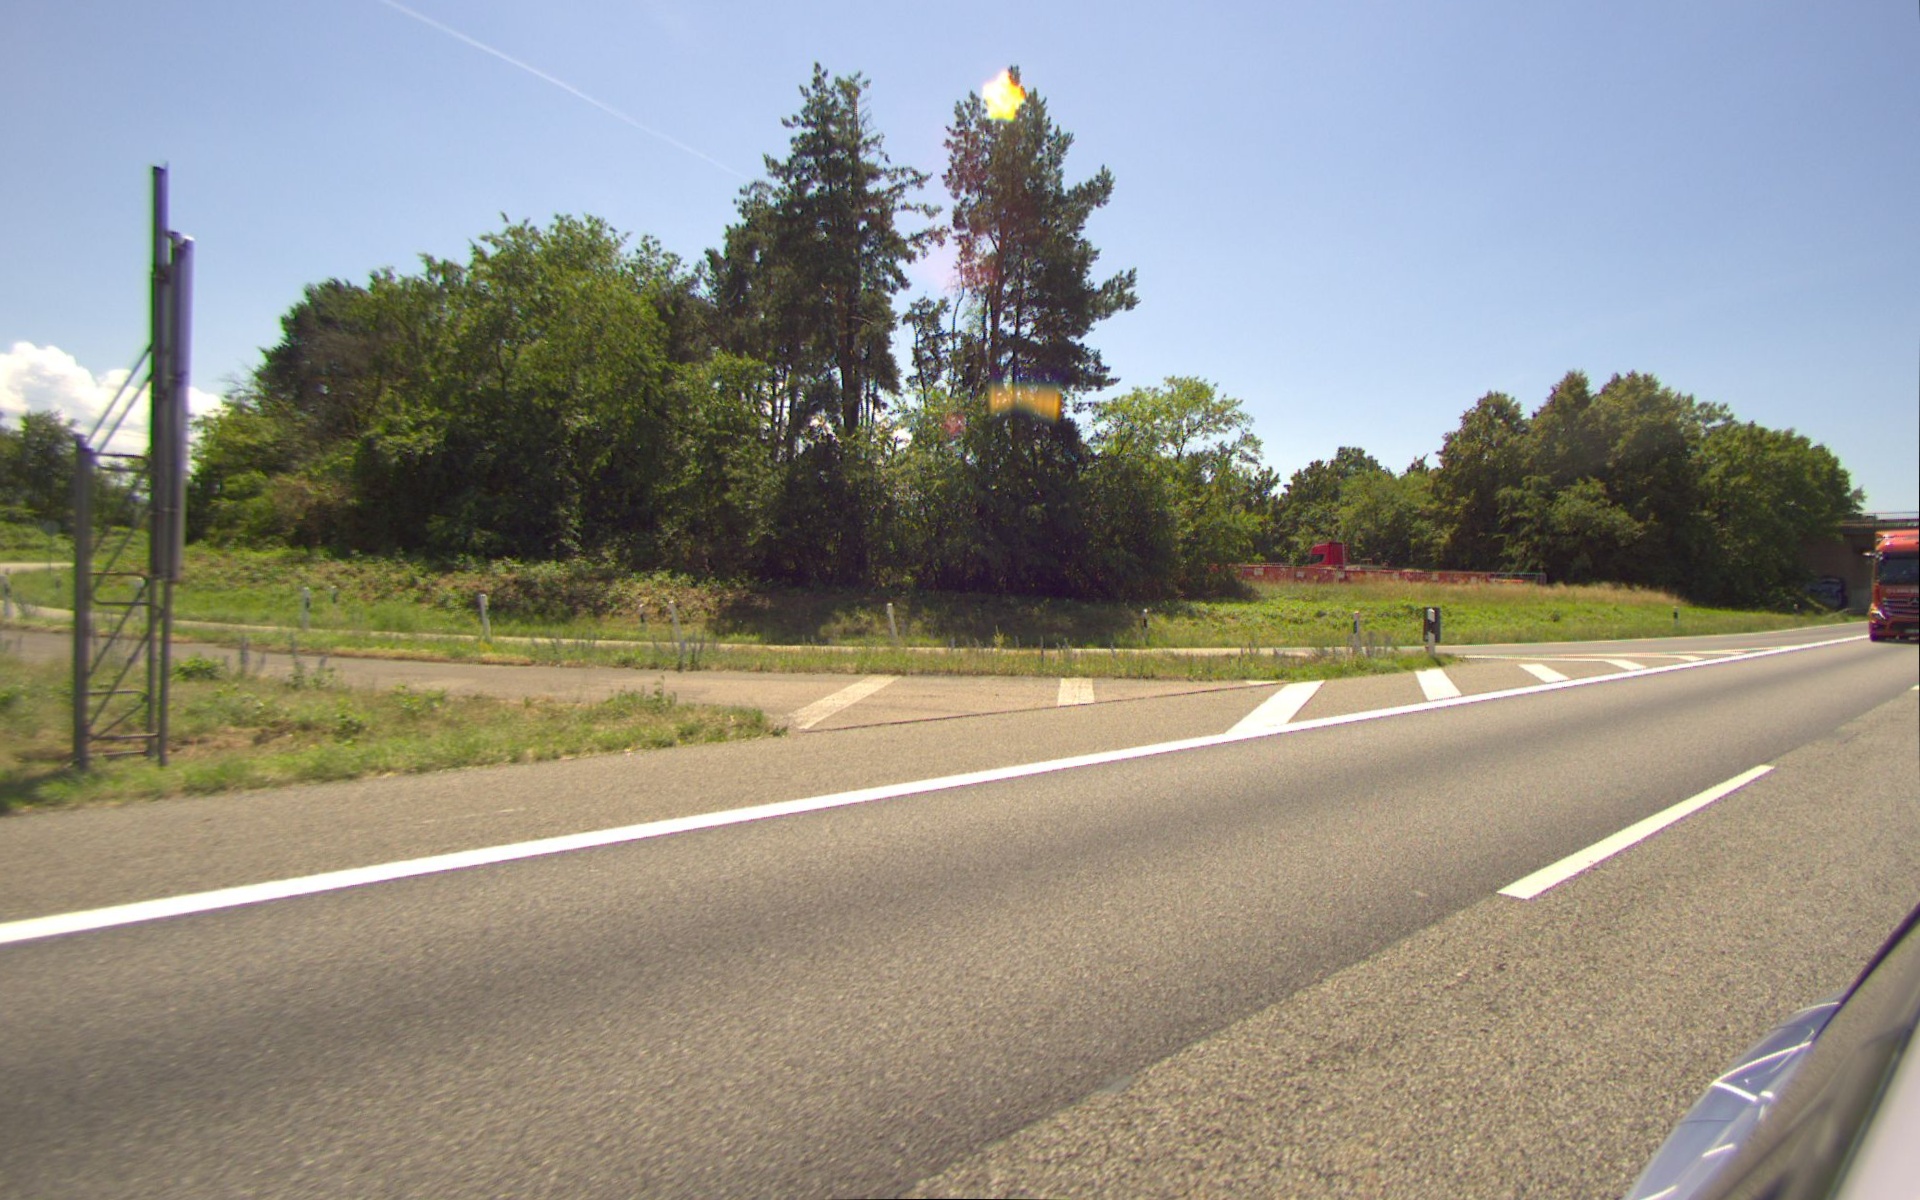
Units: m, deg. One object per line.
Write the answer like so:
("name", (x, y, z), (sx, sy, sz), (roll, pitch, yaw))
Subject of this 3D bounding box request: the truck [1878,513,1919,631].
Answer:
("truck", (36.123, -0.929, 36.803), (12.260, 3.846, 2.685), (0, 0, -41))

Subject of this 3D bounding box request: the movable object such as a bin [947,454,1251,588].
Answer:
("movable object such as a bin", (9.864, -4.863, 67.767), (22.328, 8.027, 3.145), (0, 0, -27))

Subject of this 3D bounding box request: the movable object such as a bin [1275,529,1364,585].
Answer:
("movable object such as a bin", (29.715, -3.439, 83.824), (3.738, 4.365, 5.936), (0, 0, -31))
